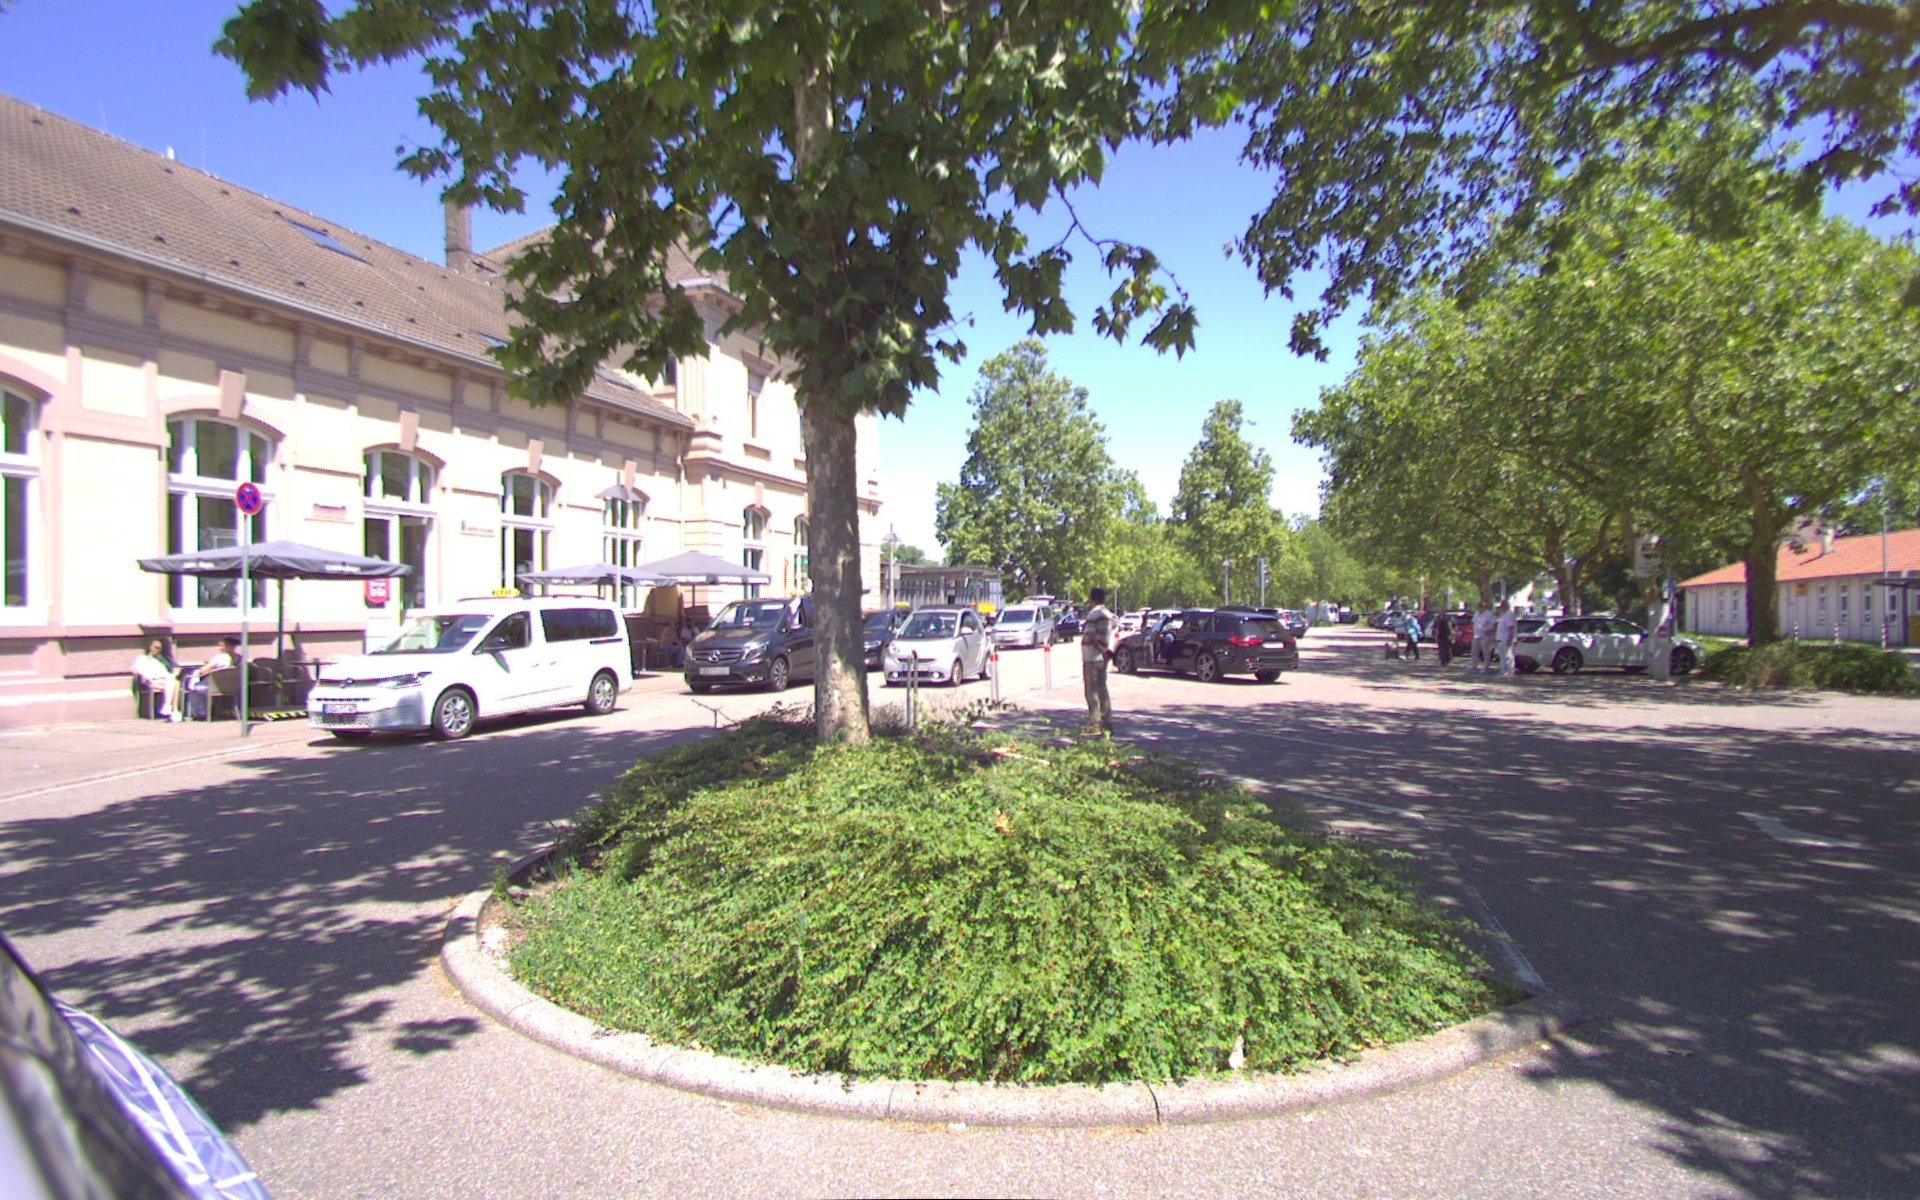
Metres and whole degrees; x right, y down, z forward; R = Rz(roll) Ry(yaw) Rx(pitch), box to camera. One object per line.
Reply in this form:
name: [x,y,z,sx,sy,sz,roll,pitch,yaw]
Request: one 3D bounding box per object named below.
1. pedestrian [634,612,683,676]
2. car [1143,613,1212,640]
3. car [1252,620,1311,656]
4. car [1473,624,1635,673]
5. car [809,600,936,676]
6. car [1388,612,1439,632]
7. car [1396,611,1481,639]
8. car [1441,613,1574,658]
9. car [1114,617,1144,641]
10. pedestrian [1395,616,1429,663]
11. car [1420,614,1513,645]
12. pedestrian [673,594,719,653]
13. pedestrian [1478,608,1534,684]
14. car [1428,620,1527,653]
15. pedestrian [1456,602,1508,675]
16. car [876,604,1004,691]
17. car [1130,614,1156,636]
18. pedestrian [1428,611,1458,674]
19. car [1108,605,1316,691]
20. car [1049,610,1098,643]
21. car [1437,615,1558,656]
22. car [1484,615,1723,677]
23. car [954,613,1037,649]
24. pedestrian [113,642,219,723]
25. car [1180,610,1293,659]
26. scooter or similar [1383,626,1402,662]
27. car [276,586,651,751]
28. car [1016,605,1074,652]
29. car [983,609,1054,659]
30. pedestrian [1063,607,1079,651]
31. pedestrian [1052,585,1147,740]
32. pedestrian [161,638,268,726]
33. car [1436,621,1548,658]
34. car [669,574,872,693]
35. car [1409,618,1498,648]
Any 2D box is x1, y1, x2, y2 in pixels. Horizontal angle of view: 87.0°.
pedestrian: [-7.662,1.106,25.760,0.873,1.555,0.848,1,-1,15]
car: [11.962,1.452,55.822,1.773,1.414,3.523,1,-2,-31]
car: [17.684,2.067,55.854,1.712,1.908,4.004,0,-1,-5]
car: [18.163,1.459,31.039,3.962,1.416,1.882,0,-1,-10]
car: [-2.271,1.038,27.816,2.060,1.854,4.819,-2,-2,13]
car: [33.128,1.606,73.986,3.129,1.405,1.459,-1,-1,14]
car: [25.626,1.327,54.223,3.814,1.471,1.640,0,-1,-9]
car: [18.904,1.210,34.999,3.814,1.471,1.640,0,-1,-9]
car: [14.056,2.376,84.003,2.031,1.854,4.943,-3,-2,13]
pedestrian: [14.056,1.207,31.460,0.789,1.435,0.692,1,-2,-42]
car: [24.830,1.423,49.630,3.814,1.471,1.640,0,-1,-9]
pedestrian: [-7.146,0.620,27.441,0.873,1.555,0.848,1,-1,15]
pedestrian: [12.969,1.079,24.077,0.827,1.784,0.852,0,-1,-1]
car: [23.901,1.656,46.776,3.814,1.471,1.640,0,-1,-9]
pedestrian: [12.949,0.948,25.119,0.827,1.784,0.852,0,-1,0]
car: [-0.339,0.916,20.535,1.590,1.605,3.085,-1,-1,20]
car: [16.346,2.209,90.254,2.031,1.854,4.943,-3,-2,13]
pedestrian: [12.264,1.075,25.720,0.584,1.560,0.608,0,-1,15]
car: [5.258,0.931,21.786,1.770,1.554,4.545,-1,1,-27]
car: [6.977,1.578,61.735,1.985,1.803,4.220,-3,-1,19]
car: [20.330,1.329,38.325,3.814,1.471,1.640,0,-1,-9]
car: [15.779,1.105,24.994,4.711,1.427,1.786,-1,-1,0]
car: [2.289,2.002,65.111,4.923,2.136,2.039,-3,-2,18]
pedestrian: [-11.519,1.172,14.703,0.873,1.088,0.848,1,-1,15]
car: [10.201,1.229,37.596,1.769,1.617,4.077,-1,1,-26]
scooter or similar: [13.635,1.375,31.891,0.431,1.110,0.404,1,-2,-42]
car: [-6.588,0.882,14.269,1.799,1.880,5.111,-2,-2,16]
car: [4.052,1.326,47.682,1.985,2.005,4.583,-3,-2,13]
car: [2.473,1.342,41.503,1.985,1.854,5.295,-3,-2,13]
pedestrian: [5.221,1.351,47.514,0.623,2.005,0.614,-3,-2,14]
pedestrian: [1.625,0.706,11.858,0.760,1.730,0.817,0,-1,-28]
pedestrian: [-10.623,1.152,14.443,0.873,1.170,0.848,1,-1,15]
car: [21.768,1.590,41.469,3.814,1.471,1.640,0,-1,-9]
car: [-3.766,0.714,21.466,2.073,2.140,5.800,-2,-2,13]
car: [25.314,1.691,51.910,3.814,1.471,1.640,0,-1,-9]
